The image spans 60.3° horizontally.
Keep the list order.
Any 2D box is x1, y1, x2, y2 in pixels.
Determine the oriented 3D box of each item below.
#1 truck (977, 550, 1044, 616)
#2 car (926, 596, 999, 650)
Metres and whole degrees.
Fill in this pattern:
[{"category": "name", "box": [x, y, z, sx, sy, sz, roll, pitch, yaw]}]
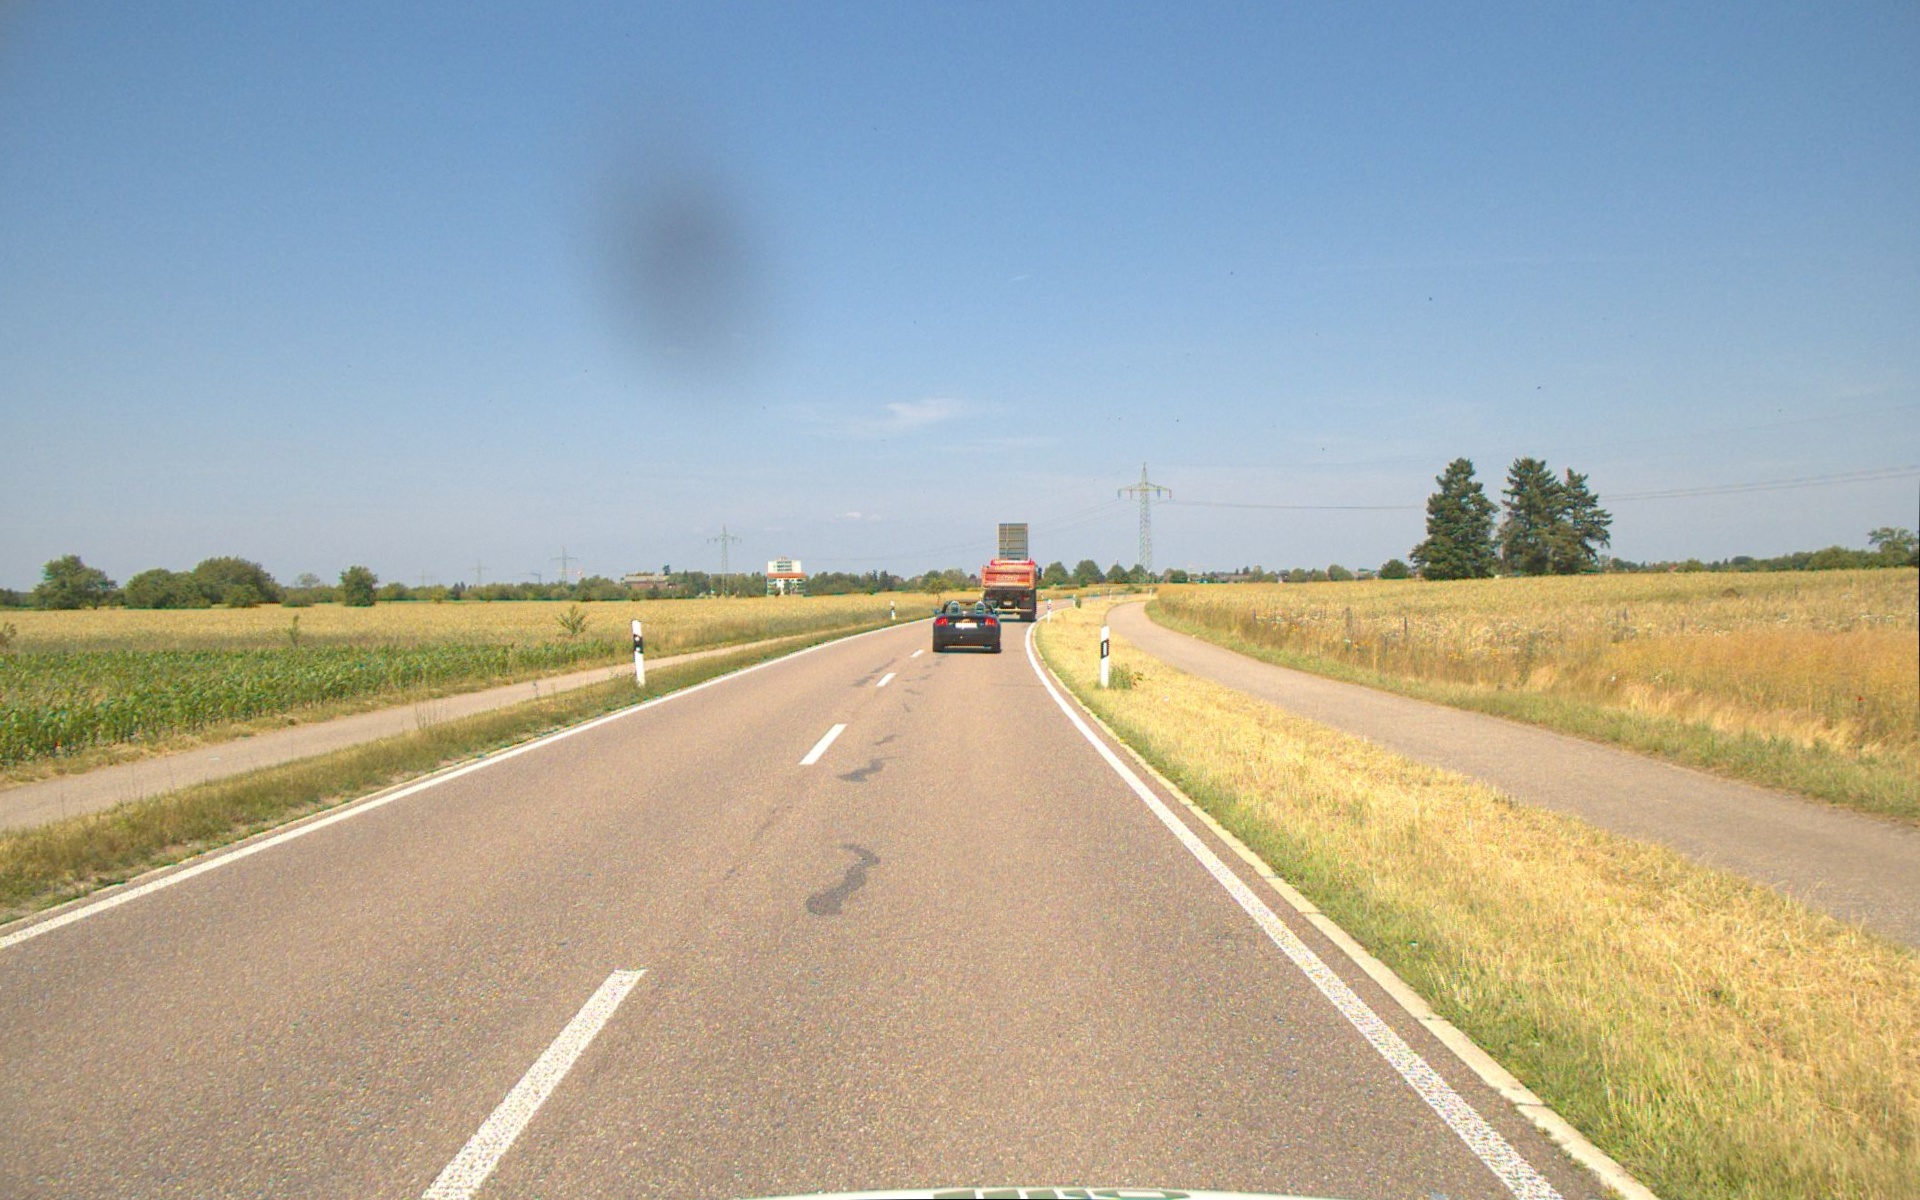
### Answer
[{"category": "truck", "box": [2.577, -0.782, 82.383, 2.876, 3.143, 7.200, 0, 0, 5]}, {"category": "car", "box": [0.107, 0.573, 42.788, 1.707, 1.302, 4.001, 0, 0, 3]}]
